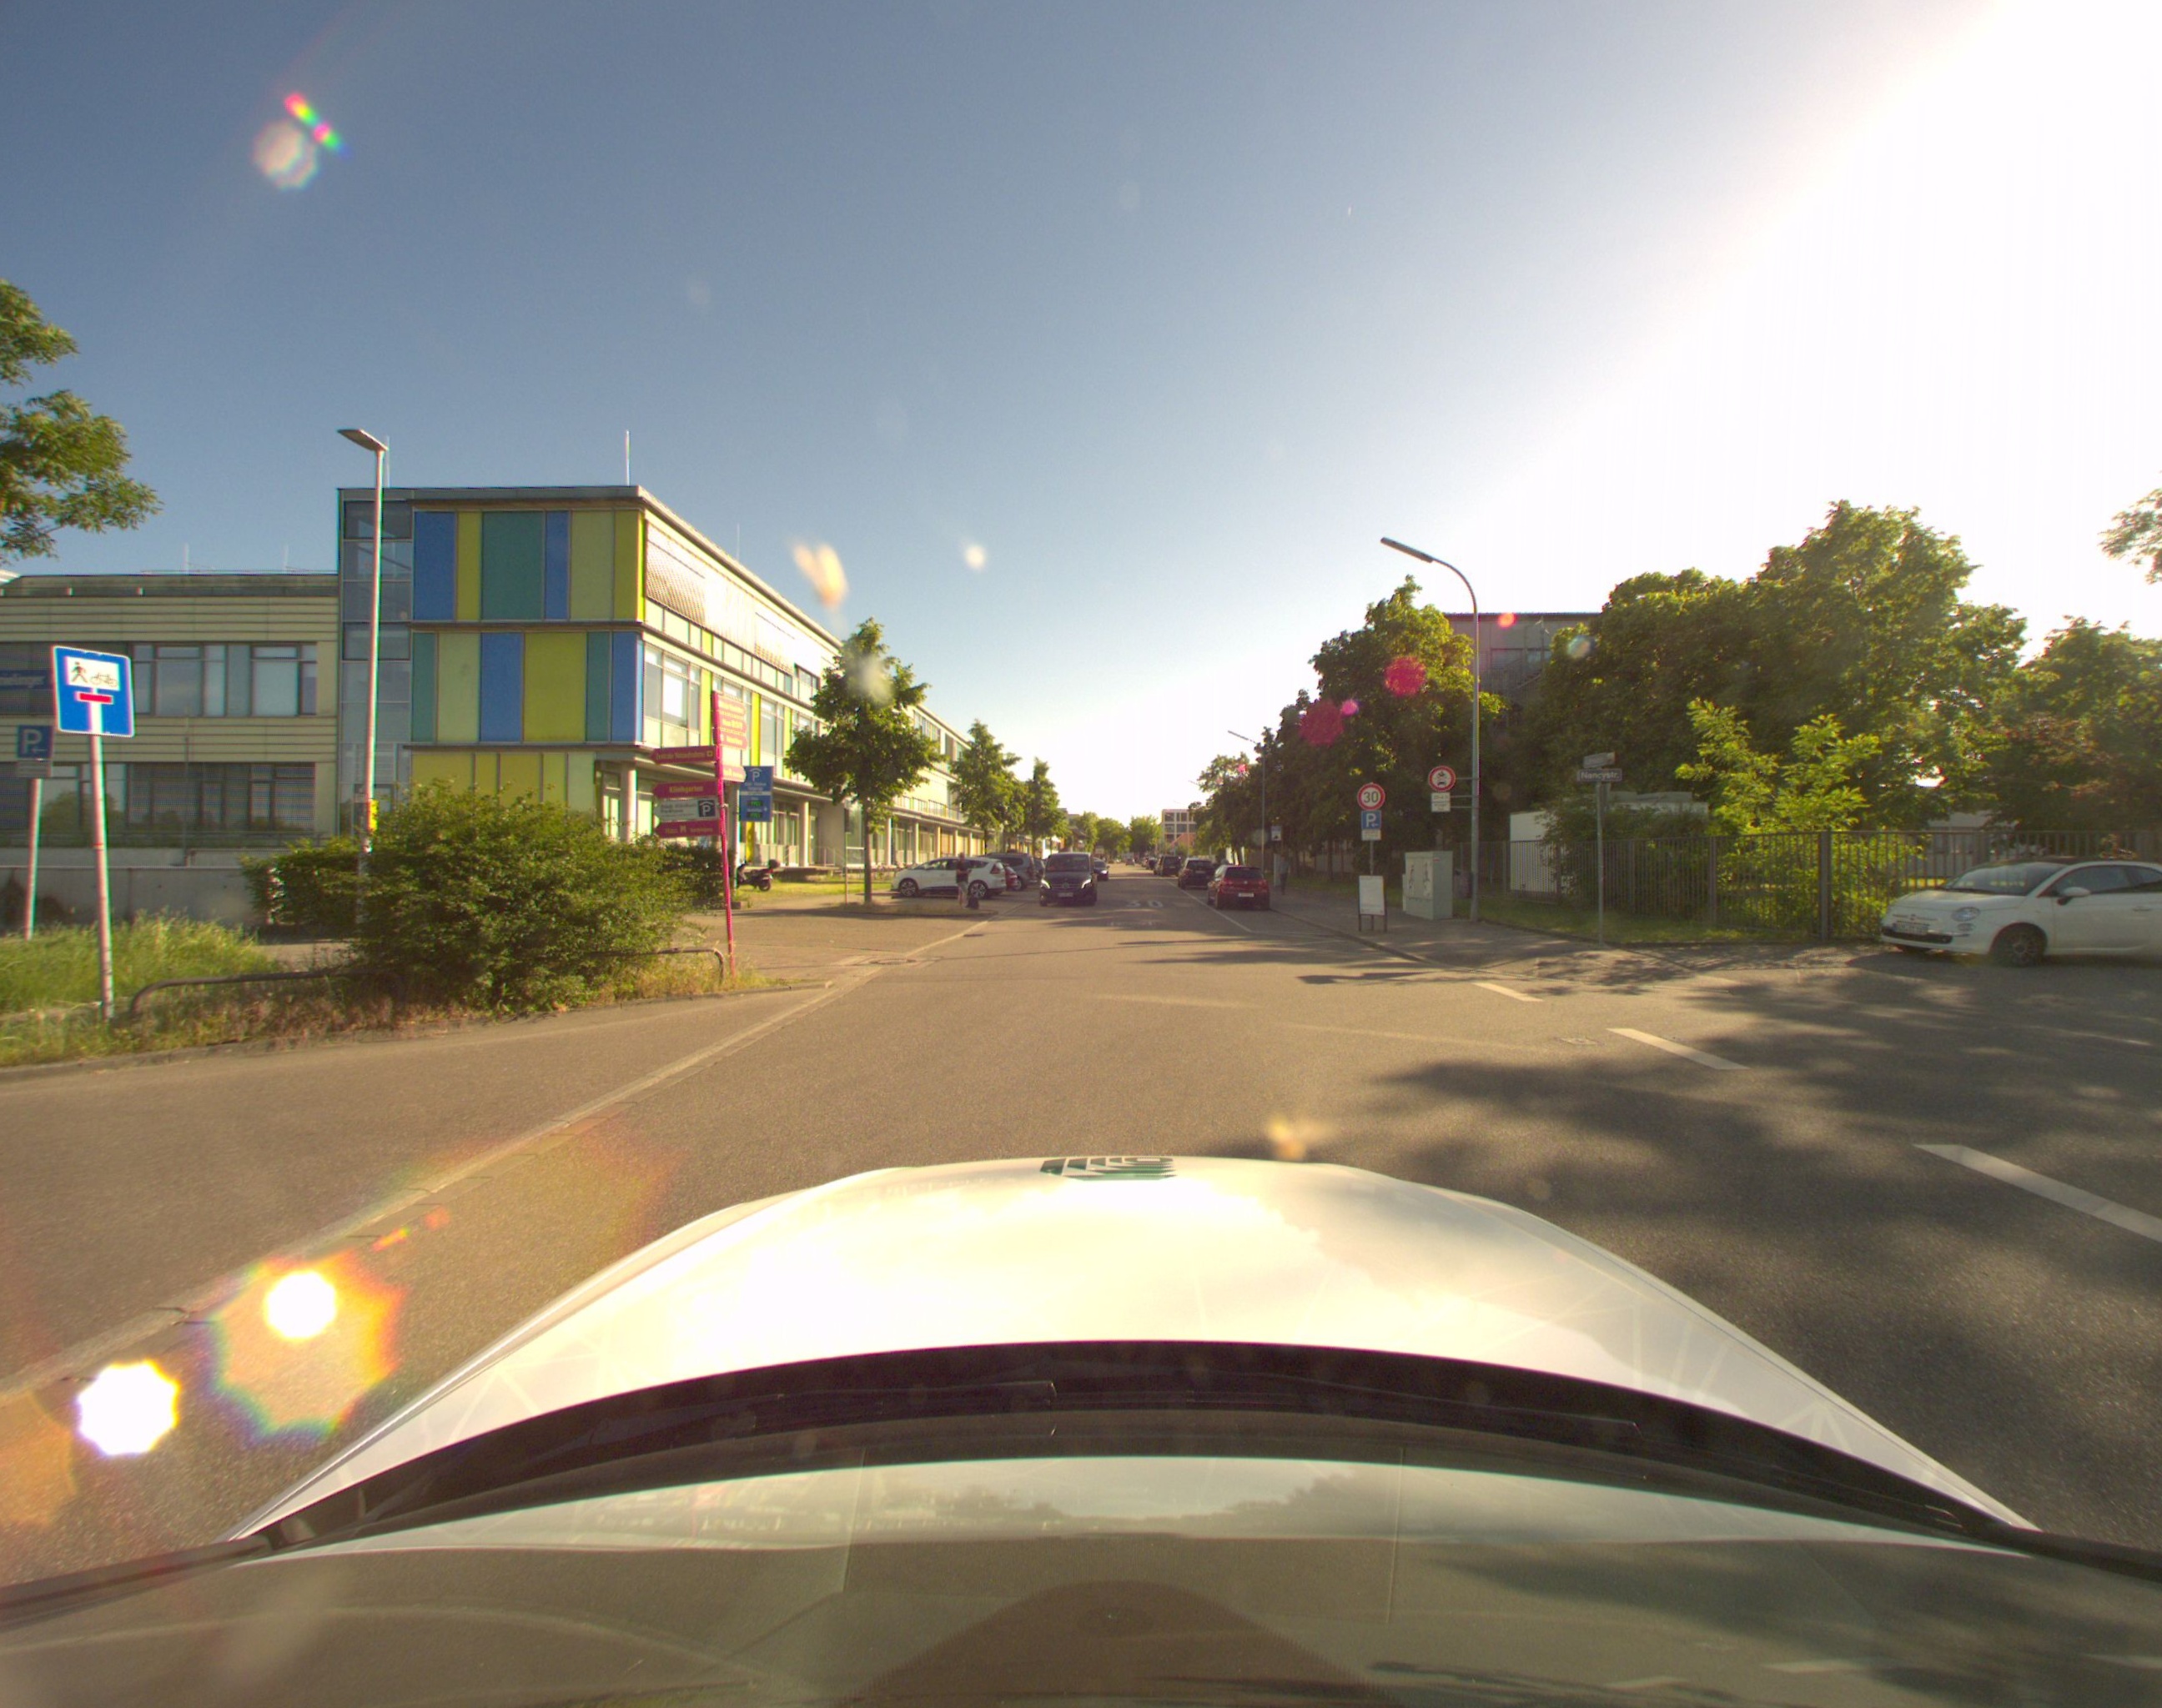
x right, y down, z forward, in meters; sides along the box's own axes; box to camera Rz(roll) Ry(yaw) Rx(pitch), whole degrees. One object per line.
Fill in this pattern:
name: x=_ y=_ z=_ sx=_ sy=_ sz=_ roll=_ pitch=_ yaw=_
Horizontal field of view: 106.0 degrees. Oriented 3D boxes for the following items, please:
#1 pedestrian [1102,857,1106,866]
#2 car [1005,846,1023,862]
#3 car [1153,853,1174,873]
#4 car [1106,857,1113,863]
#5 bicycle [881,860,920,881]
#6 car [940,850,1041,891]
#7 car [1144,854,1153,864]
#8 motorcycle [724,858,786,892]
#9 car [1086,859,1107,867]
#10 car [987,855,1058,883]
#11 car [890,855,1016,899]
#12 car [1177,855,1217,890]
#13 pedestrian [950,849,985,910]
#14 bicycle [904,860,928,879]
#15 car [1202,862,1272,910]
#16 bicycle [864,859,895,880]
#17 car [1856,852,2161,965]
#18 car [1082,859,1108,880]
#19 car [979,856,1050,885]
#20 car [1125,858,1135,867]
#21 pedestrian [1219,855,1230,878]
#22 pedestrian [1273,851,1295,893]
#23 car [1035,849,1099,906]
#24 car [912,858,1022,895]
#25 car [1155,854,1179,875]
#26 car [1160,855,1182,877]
pedestrian: x=4.116 y=1.352 z=146.317 sx=0.616 sy=1.624 sz=0.716 roll=-1 pitch=-1 yaw=3
car: x=-9.221 y=0.039 z=112.817 sx=1.985 sy=2.014 sz=4.002 roll=0 pitch=-2 yaw=3
car: x=8.278 y=0.899 z=81.783 sx=1.867 sy=1.978 sz=4.003 roll=-1 pitch=0 yaw=3
car: x=7.860 y=1.634 z=223.484 sx=1.721 sy=1.536 sz=4.001 roll=0 pitch=0 yaw=2
bicycle: x=-10.181 y=0.933 z=46.025 sx=0.861 sy=1.153 sz=2.386 roll=1 pitch=-1 yaw=24
car: x=-4.479 y=0.791 z=40.902 sx=4.722 sy=1.865 sz=1.829 roll=2 pitch=0 yaw=3
car: x=10.782 y=0.836 z=130.392 sx=1.430 sy=1.560 sz=3.044 roll=0 pitch=0 yaw=3
motorcycle: x=-12.078 y=0.773 z=30.209 sx=2.036 sy=1.149 sz=0.499 roll=3 pitch=0 yaw=0
car: x=3.086 y=1.782 z=157.171 sx=3.970 sy=1.519 sz=2.001 roll=0 pitch=-2 yaw=3
car: x=-3.624 y=0.937 z=50.872 sx=4.234 sy=1.612 sz=2.047 roll=2 pitch=0 yaw=-1
car: x=-5.077 y=0.902 z=32.665 sx=4.588 sy=1.651 sz=1.871 roll=0 pitch=-1 yaw=6
car: x=6.269 y=0.957 z=44.355 sx=1.804 sy=1.666 sz=4.598 roll=1 pitch=1 yaw=4
pedestrian: x=-3.510 y=0.776 z=25.183 sx=0.854 sy=1.842 sz=0.826 roll=2 pitch=0 yaw=4
bicycle: x=-10.079 y=0.933 z=49.816 sx=0.887 sy=1.111 sz=1.893 roll=2 pitch=0 yaw=7
car: x=5.329 y=1.038 z=28.328 sx=1.713 sy=1.455 sz=4.655 roll=1 pitch=0 yaw=2
bicycle: x=-11.517 y=0.889 z=46.670 sx=0.863 sy=1.153 sz=1.999 roll=2 pitch=-1 yaw=13
car: x=13.613 y=0.724 z=11.606 sx=3.531 sy=1.486 sz=1.602 roll=0 pitch=0 yaw=4
car: x=1.029 y=1.082 z=58.378 sx=1.696 sy=1.451 sz=4.089 roll=-1 pitch=0 yaw=3
car: x=-3.862 y=0.958 z=47.923 sx=3.975 sy=1.607 sz=1.871 roll=2 pitch=0 yaw=-1
car: x=9.316 y=1.608 z=154.487 sx=1.736 sy=1.543 sz=4.003 roll=1 pitch=0 yaw=3
pedestrian: x=10.721 y=0.908 z=60.850 sx=0.695 sy=1.661 sz=0.752 roll=-3 pitch=-1 yaw=2
pedestrian: x=8.841 y=0.774 z=35.476 sx=0.714 sy=1.758 sz=0.885 roll=-2 pitch=0 yaw=3
car: x=-0.406 y=0.793 z=29.887 sx=1.947 sy=1.867 sz=5.258 roll=-1 pitch=0 yaw=3
car: x=-4.889 y=0.961 z=35.305 sx=4.415 sy=1.501 sz=1.829 roll=0 pitch=-1 yaw=3
car: x=7.977 y=0.964 z=75.537 sx=1.985 sy=1.823 sz=4.201 roll=-1 pitch=0 yaw=3
car: x=7.634 y=0.968 z=69.300 sx=1.725 sy=1.830 sz=3.909 roll=0 pitch=0 yaw=3
